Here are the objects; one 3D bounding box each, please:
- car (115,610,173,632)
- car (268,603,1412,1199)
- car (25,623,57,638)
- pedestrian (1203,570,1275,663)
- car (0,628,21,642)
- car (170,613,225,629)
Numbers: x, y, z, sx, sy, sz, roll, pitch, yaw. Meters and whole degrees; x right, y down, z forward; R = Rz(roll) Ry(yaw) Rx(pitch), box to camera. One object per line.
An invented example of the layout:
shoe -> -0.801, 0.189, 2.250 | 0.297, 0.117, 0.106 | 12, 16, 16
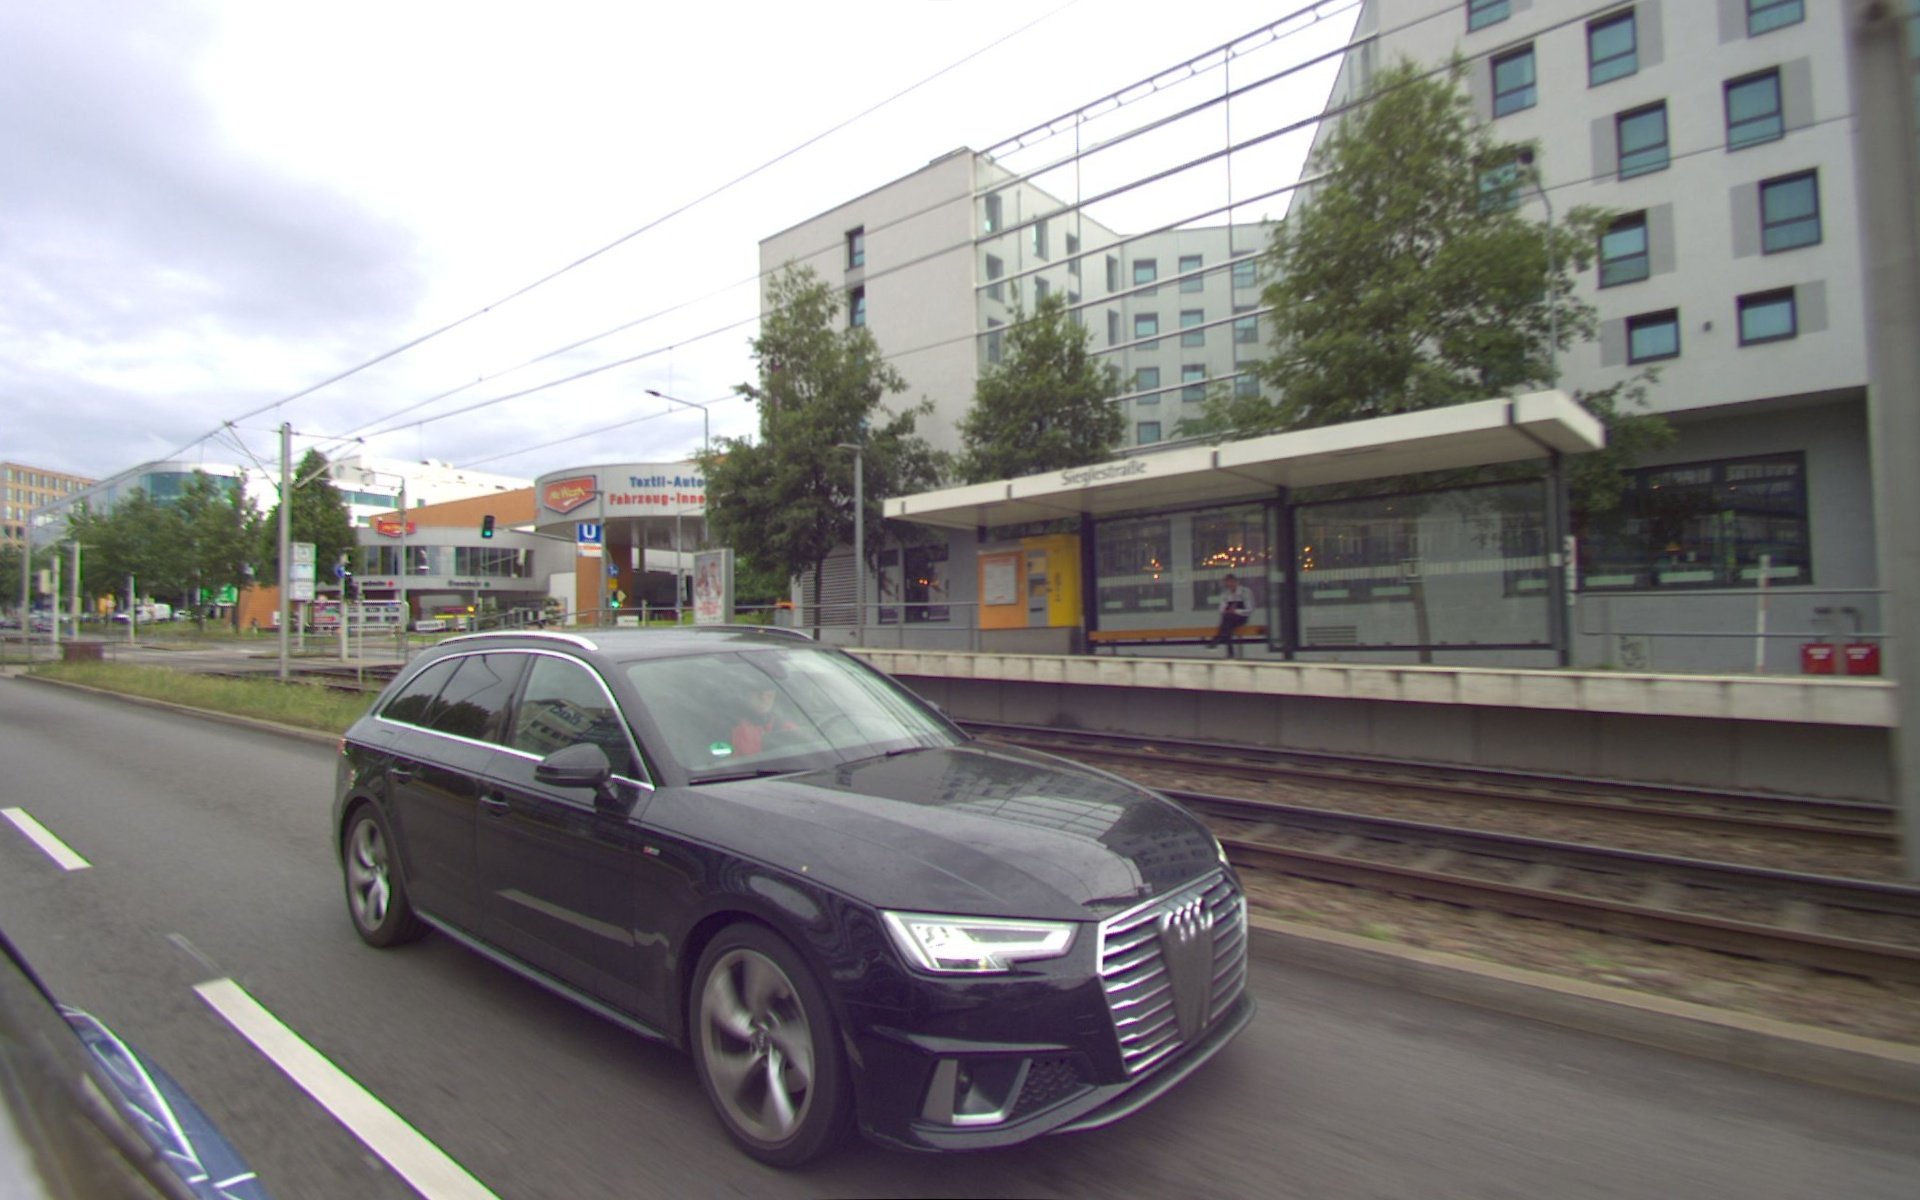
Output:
car -> -104.530, 2.640, 129.753 | 2.263, 2.648, 5.445 | 0, 0, 21
car -> -0.966, 0.769, 4.108 | 4.823, 1.445, 1.772 | -1, -1, 39
car -> -89.604, 2.945, 98.666 | 3.775, 1.434, 1.711 | -1, -2, 39
pedestrian -> 4.101, 0.244, 14.853 | 0.684, 1.310, 0.951 | -1, -2, 40
car -> -103.424, 3.791, 109.576 | 4.381, 1.438, 1.836 | -1, -3, 37
car -> -101.879, 2.742, 135.328 | 2.272, 1.940, 5.424 | 0, 0, 33
